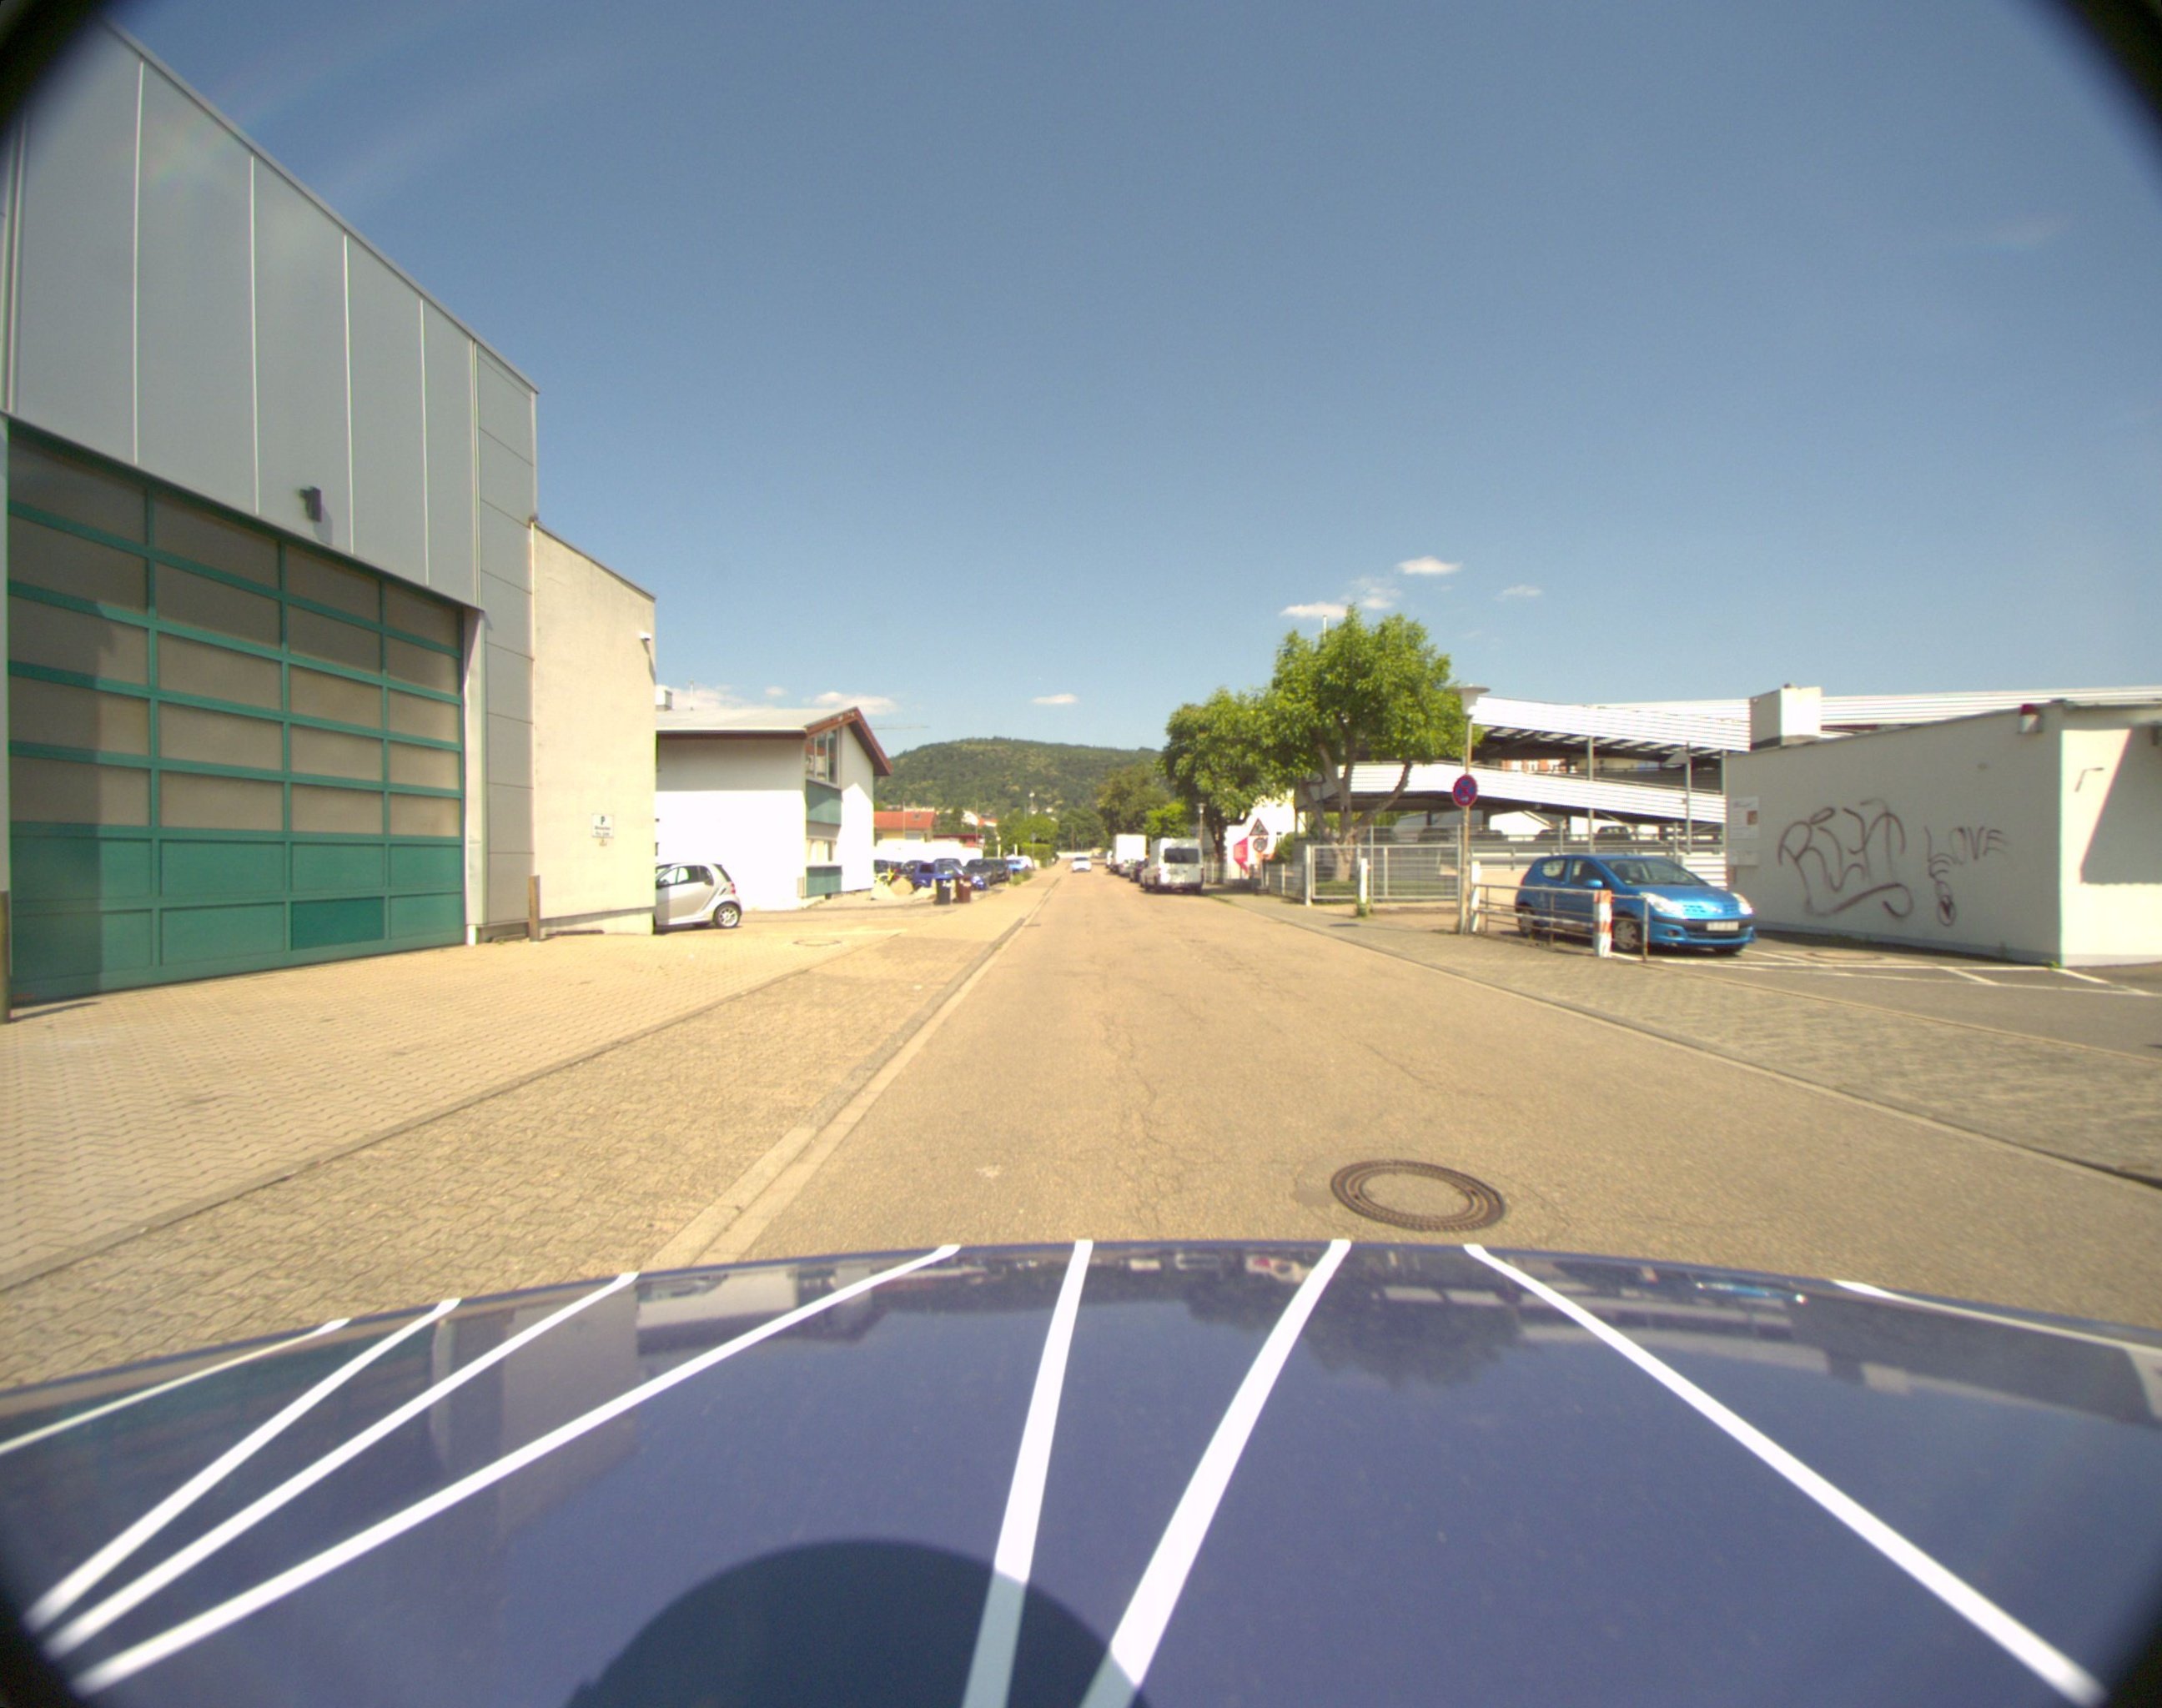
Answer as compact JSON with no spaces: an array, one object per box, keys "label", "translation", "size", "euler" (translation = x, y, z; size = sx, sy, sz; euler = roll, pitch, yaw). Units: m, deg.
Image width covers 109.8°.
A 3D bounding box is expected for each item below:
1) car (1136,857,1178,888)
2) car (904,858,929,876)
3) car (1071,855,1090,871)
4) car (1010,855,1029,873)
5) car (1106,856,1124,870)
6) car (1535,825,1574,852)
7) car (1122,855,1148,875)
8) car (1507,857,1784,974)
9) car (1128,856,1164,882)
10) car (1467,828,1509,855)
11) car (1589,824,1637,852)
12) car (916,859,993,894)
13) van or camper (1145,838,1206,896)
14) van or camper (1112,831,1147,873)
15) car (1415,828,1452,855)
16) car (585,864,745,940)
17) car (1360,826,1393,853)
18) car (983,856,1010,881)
[{"label":"car","translation":[4.017,0.939,40.612],"size":[1.708,1.449,3.524],"euler":[-2,1,-3]},{"label":"car","translation":[-13.715,1.080,63.368],"size":[1.452,1.371,3.185],"euler":[-2,1,-3]},{"label":"car","translation":[-0.042,0.837,75.126],"size":[1.736,1.521,4.109],"euler":[0,0,0]},{"label":"car","translation":[-5.121,0.855,63.439],"size":[1.452,1.371,3.185],"euler":[-2,1,-3]},{"label":"car","translation":[3.888,1.015,87.689],"size":[1.708,1.564,3.524],"euler":[-2,1,-3]},{"label":"car","translation":[27.118,-0.890,43.612],"size":[1.705,1.449,3.531],"euler":[-2,1,29]},{"label":"car","translation":[4.079,0.800,58.259],"size":[1.708,1.449,3.525],"euler":[0,0,0]},{"label":"car","translation":[8.504,0.823,11.872],"size":[1.645,1.449,3.524],"euler":[-2,1,-1]},{"label":"car","translation":[4.004,0.897,47.137],"size":[1.708,1.449,3.524],"euler":[-2,1,-3]},{"label":"car","translation":[23.312,-0.740,43.637],"size":[1.705,1.449,3.530],"euler":[-2,1,21]},{"label":"car","translation":[30.066,-0.921,43.020],"size":[1.705,1.449,3.531],"euler":[-2,1,27]},{"label":"car","translation":[-5.359,0.949,32.413],"size":[2.975,1.332,1.453],"euler":[-2,1,1]},{"label":"van or camper","translation":[4.103,0.527,33.627],"size":[2.028,2.363,4.684],"euler":[1,1,-1]},{"label":"van or camper","translation":[4.030,-0.135,64.200],"size":[2.525,3.350,5.591],"euler":[0,0,-1]},{"label":"car","translation":[20.389,-0.755,44.068],"size":[1.705,1.449,3.530],"euler":[-2,1,21]},{"label":"car","translation":[-9.167,1.009,16.845],"size":[1.309,1.524,2.829],"euler":[-2,-1,43]},{"label":"car","translation":[17.277,-0.847,44.392],"size":[1.705,1.449,3.530],"euler":[-2,1,21]},{"label":"car","translation":[-5.412,0.905,48.912],"size":[1.452,1.487,3.186],"euler":[-2,1,-2]}]
